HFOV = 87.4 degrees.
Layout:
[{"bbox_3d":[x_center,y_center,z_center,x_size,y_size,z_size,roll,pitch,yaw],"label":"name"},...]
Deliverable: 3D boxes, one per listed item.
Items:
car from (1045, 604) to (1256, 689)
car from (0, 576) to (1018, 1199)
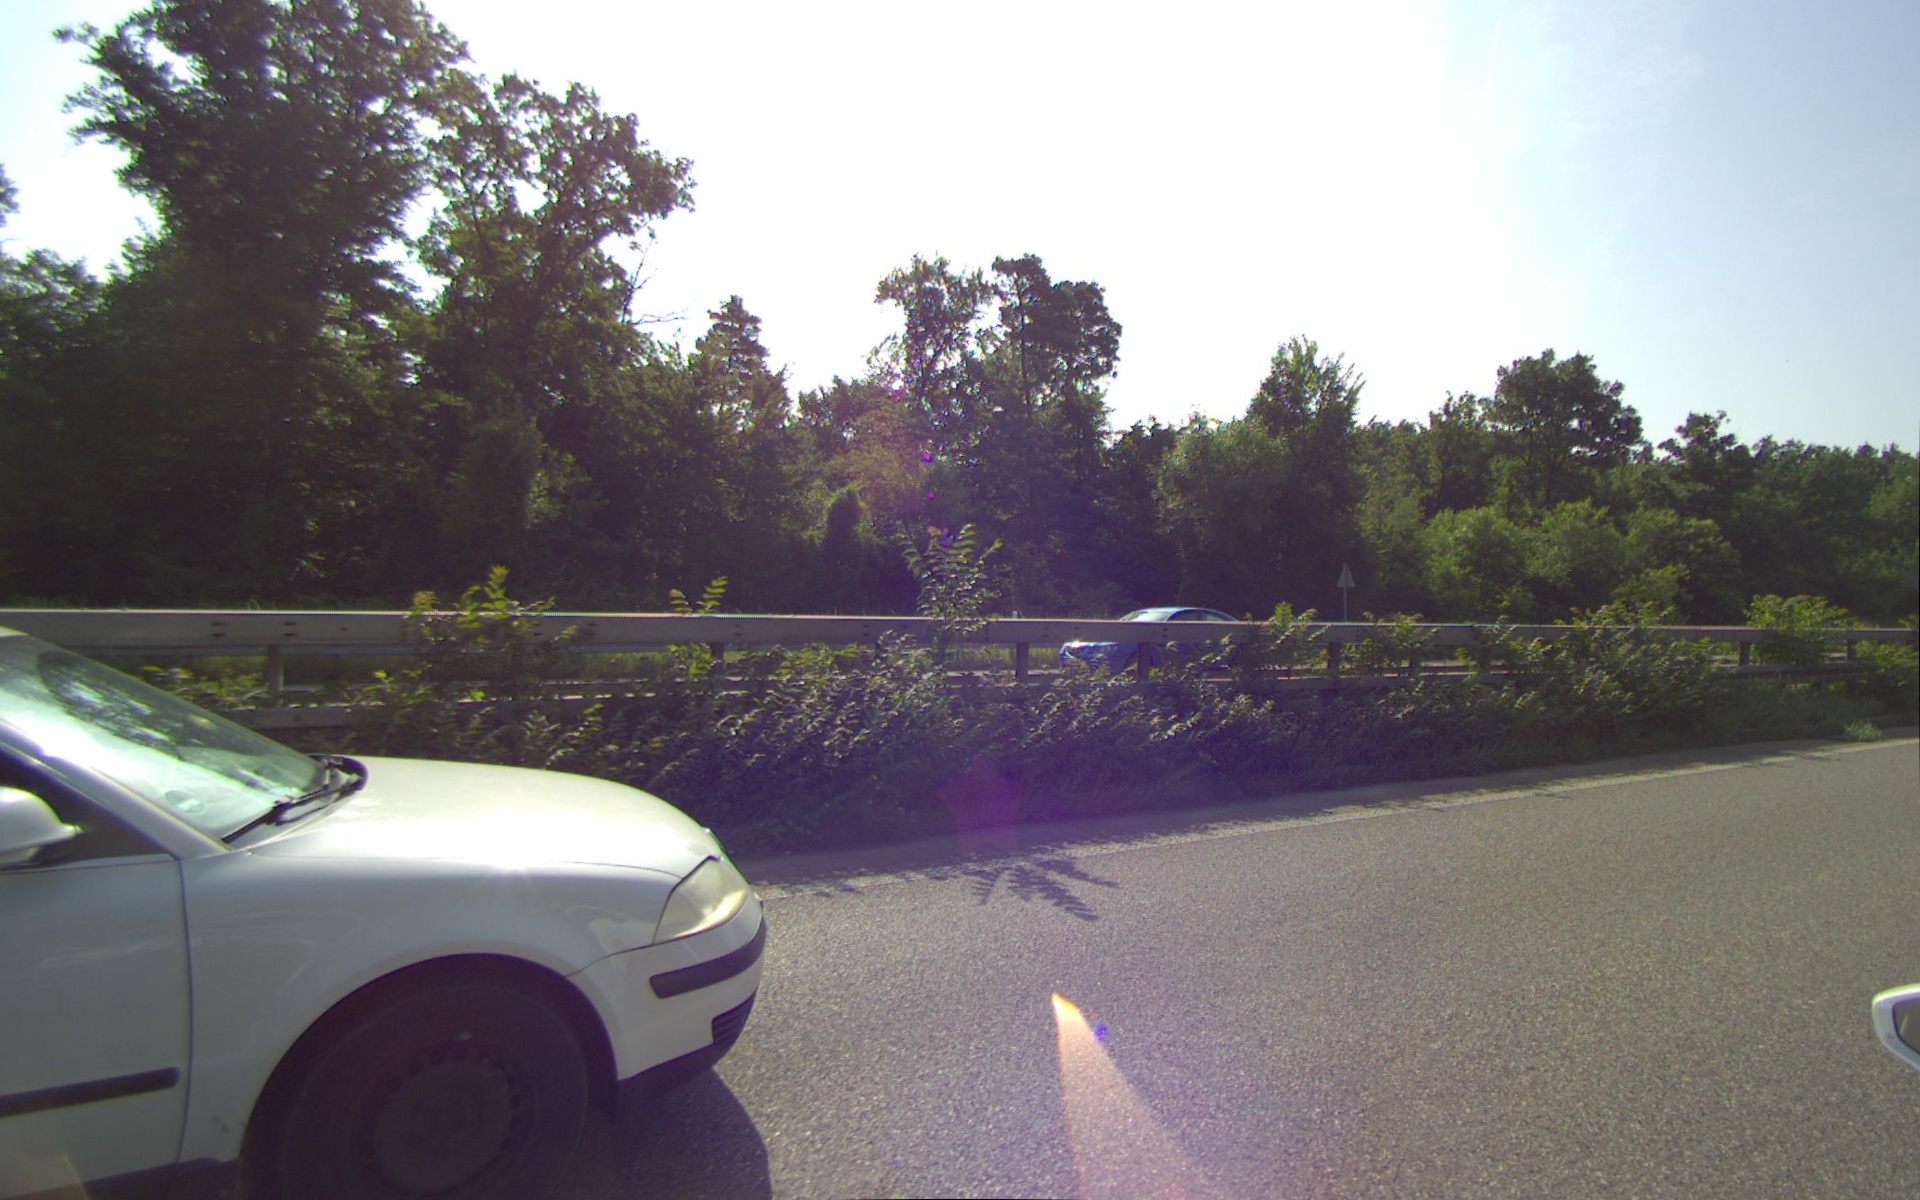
[{"bbox_3d":[3.660,0.844,19.119,3.862,1.448,1.550,1,0,-29],"label":"car"},{"bbox_3d":[-2.511,0.696,2.327,5.202,1.505,1.741,1,0,-31],"label":"car"}]
